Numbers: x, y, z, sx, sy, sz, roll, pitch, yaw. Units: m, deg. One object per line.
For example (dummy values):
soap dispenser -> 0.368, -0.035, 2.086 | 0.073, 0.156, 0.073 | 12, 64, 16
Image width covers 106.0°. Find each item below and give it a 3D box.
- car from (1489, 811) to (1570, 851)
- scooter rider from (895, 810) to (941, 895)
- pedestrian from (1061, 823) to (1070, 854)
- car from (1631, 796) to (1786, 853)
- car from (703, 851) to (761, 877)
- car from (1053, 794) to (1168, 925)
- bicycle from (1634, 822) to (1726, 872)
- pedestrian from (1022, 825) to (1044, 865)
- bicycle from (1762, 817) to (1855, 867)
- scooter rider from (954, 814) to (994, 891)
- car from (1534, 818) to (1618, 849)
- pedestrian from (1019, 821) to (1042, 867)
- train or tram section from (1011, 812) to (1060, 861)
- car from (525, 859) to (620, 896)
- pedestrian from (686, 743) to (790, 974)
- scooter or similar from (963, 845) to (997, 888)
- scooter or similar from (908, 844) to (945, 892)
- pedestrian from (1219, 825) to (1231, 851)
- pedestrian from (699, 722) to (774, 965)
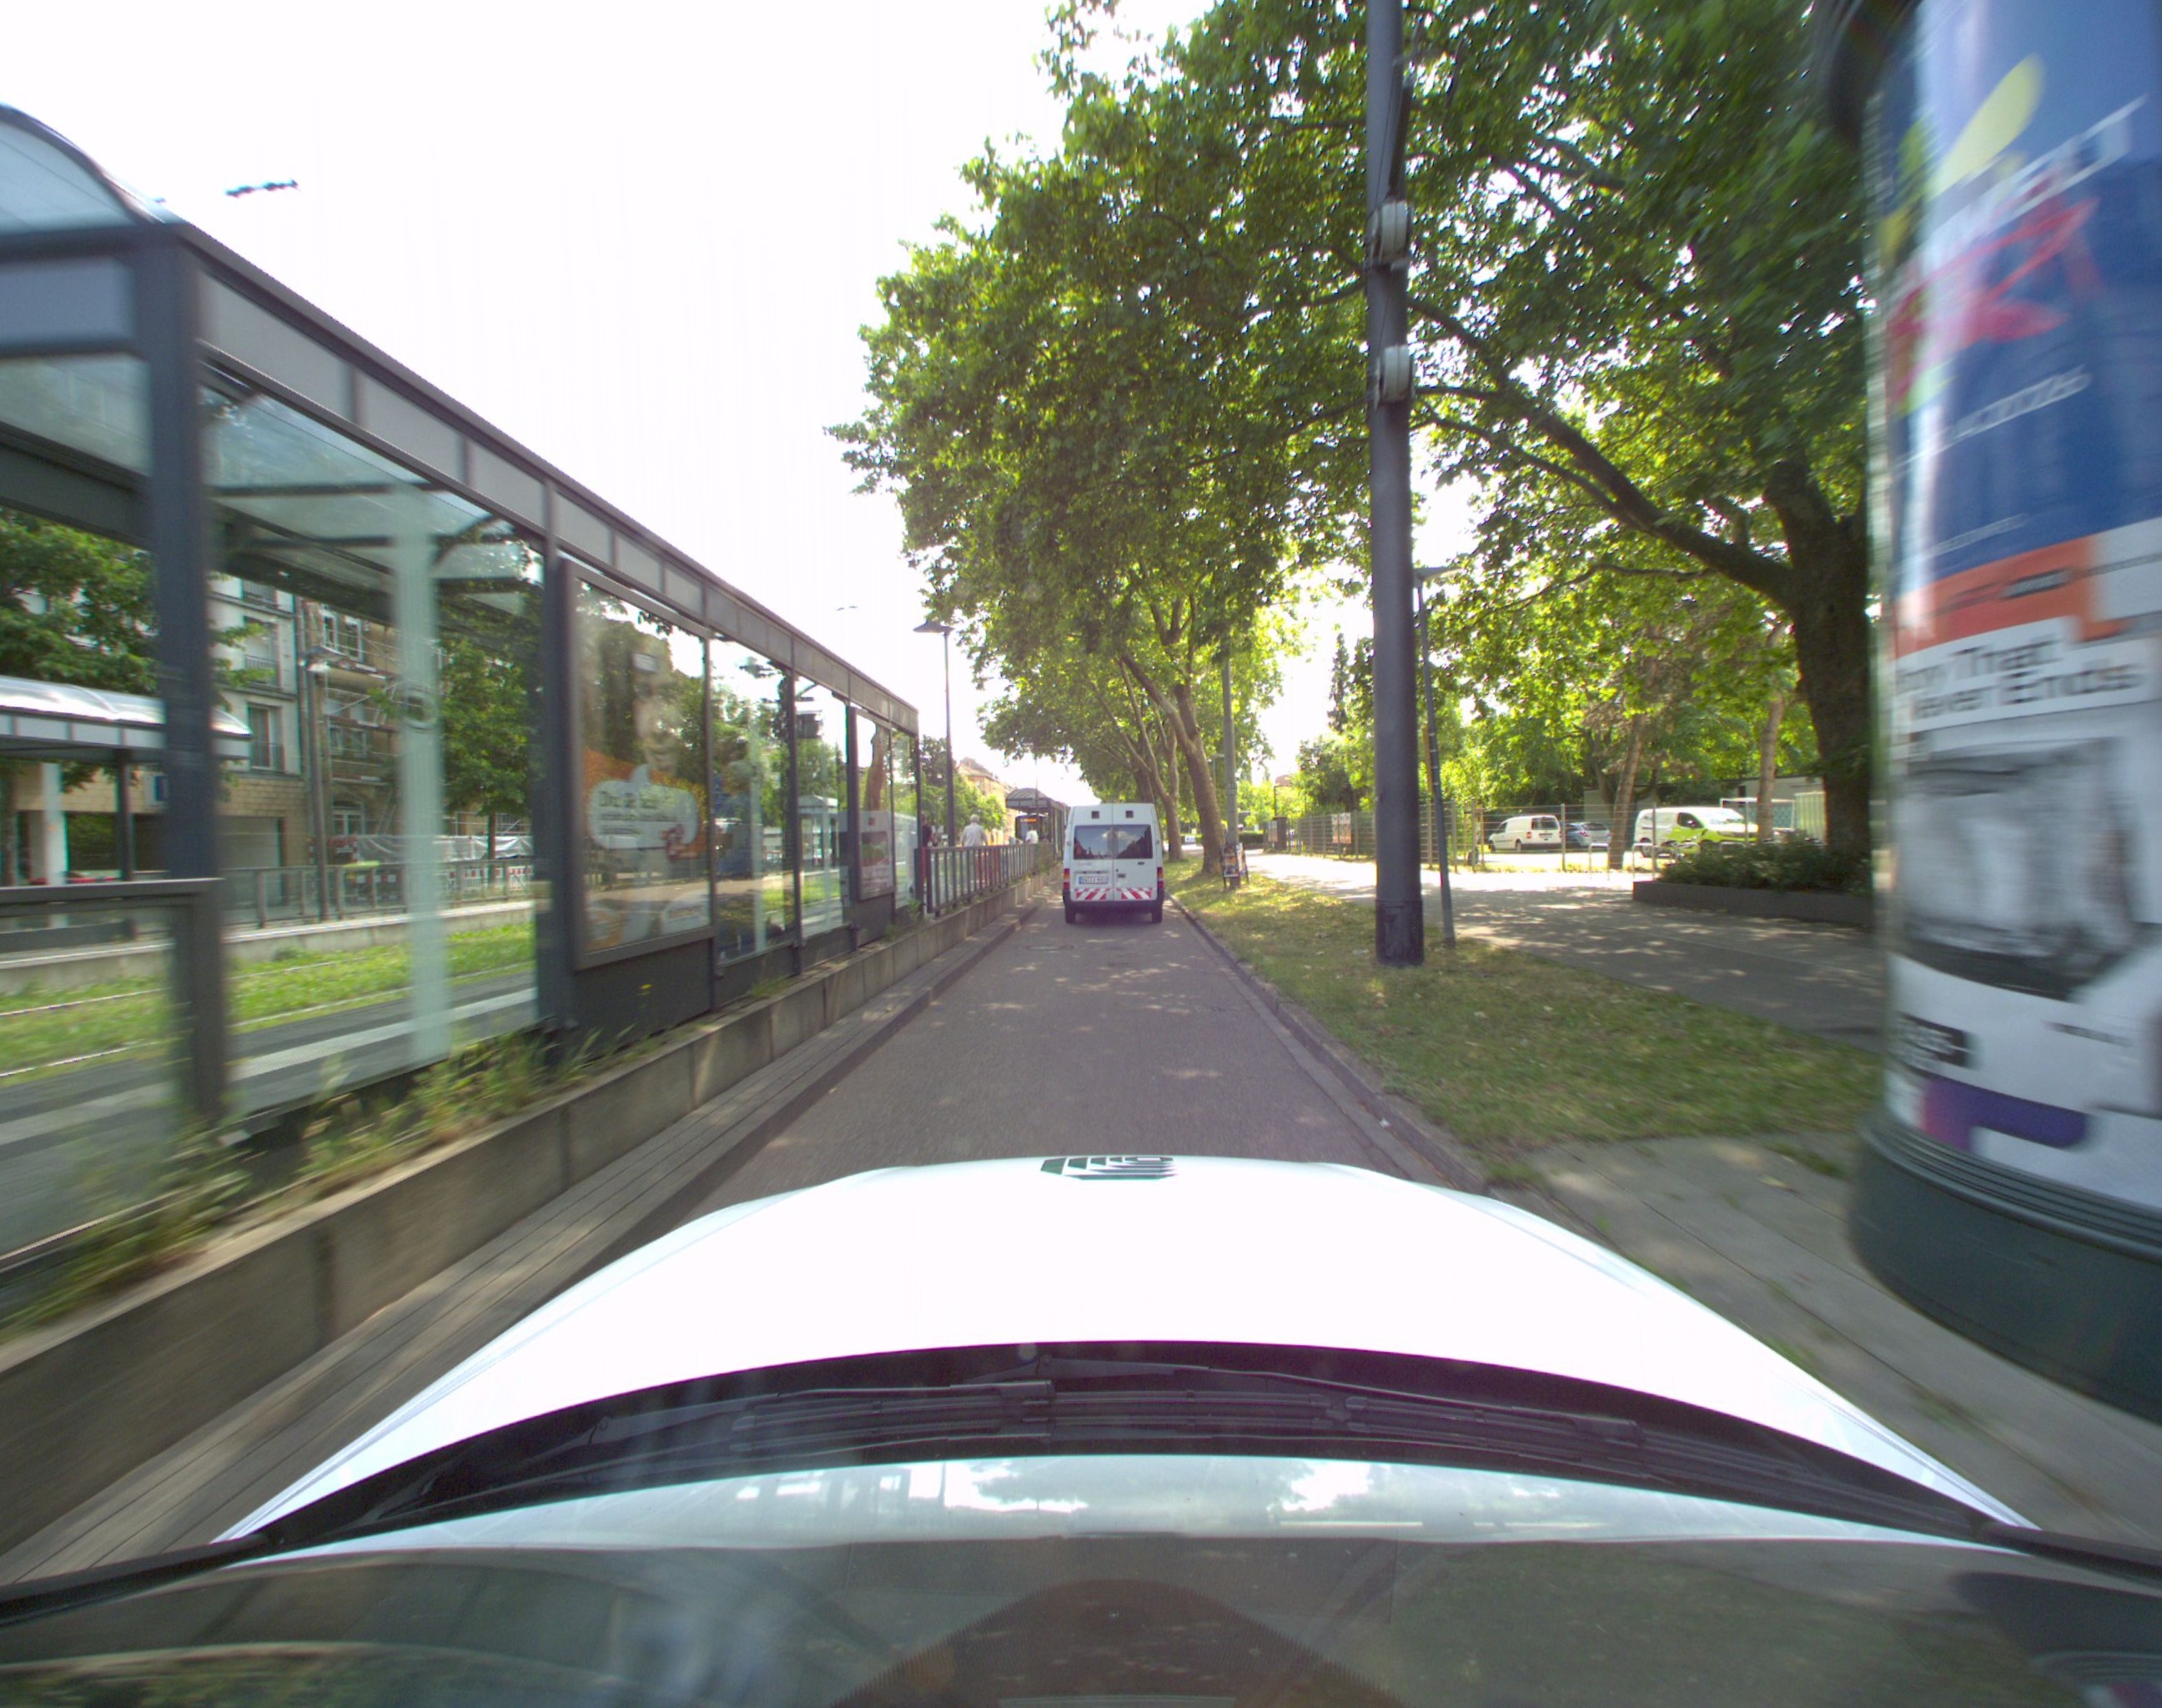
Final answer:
car -> 21.890, -1.114, 39.918 | 1.799, 1.814, 4.344 | -2, 1, 4
scooter rider -> -3.221, -0.042, 16.151 | 0.652, 1.613, 0.901 | -2, 1, 2
pedestrian -> -0.830, -0.803, 42.823 | 0.384, 1.591, 0.439 | -2, 1, 1
car -> 21.636, -0.981, 28.366 | 1.731, 1.755, 4.773 | -2, 1, 0
car -> -21.128, 0.599, 49.438 | 1.712, 1.371, 3.707 | -2, 1, 2
car -> 0.601, 0.034, 17.256 | 2.040, 2.332, 4.716 | -2, 2, 1
bicycle -> 13.825, -0.172, 18.860 | 0.605, 1.073, 1.835 | -2, 1, -6
pedestrian -> -1.690, -0.322, 28.877 | 0.673, 1.403, 0.596 | -2, 1, 1
bicycle -> 16.630, -0.279, 18.664 | 0.514, 1.065, 1.725 | -2, 1, -4
scooter rider -> -2.264, -0.043, 17.281 | 0.652, 1.570, 0.901 | -2, 1, 2
car -> 24.350, -0.996, 40.233 | 1.800, 1.402, 4.050 | -2, 1, 2
pedestrian -> -1.727, -0.342, 27.854 | 0.673, 1.515, 0.596 | -2, 1, 1
train or tram section -> -3.576, -1.432, 67.515 | 2.713, 3.583, 13.025 | -1, 1, 2
car -> -21.641, 0.963, 34.818 | 1.712, 1.371, 3.479 | -2, 1, 2
pedestrian -> -2.551, 0.027, 6.100 | 0.468, 1.641, 0.537 | -2, 1, 1
scooter or similar -> -2.230, 0.277, 17.957 | 0.652, 0.907, 0.389 | -2, 1, 1
scooter or similar -> -3.191, 0.292, 16.836 | 0.630, 0.956, 0.421 | -2, 1, 1
pedestrian -> 9.293, -1.051, 52.563 | 0.691, 1.625, 0.637 | -2, 1, 1
pedestrian -> -2.826, -0.091, 6.711 | 0.472, 1.900, 0.533 | -2, 1, -22
